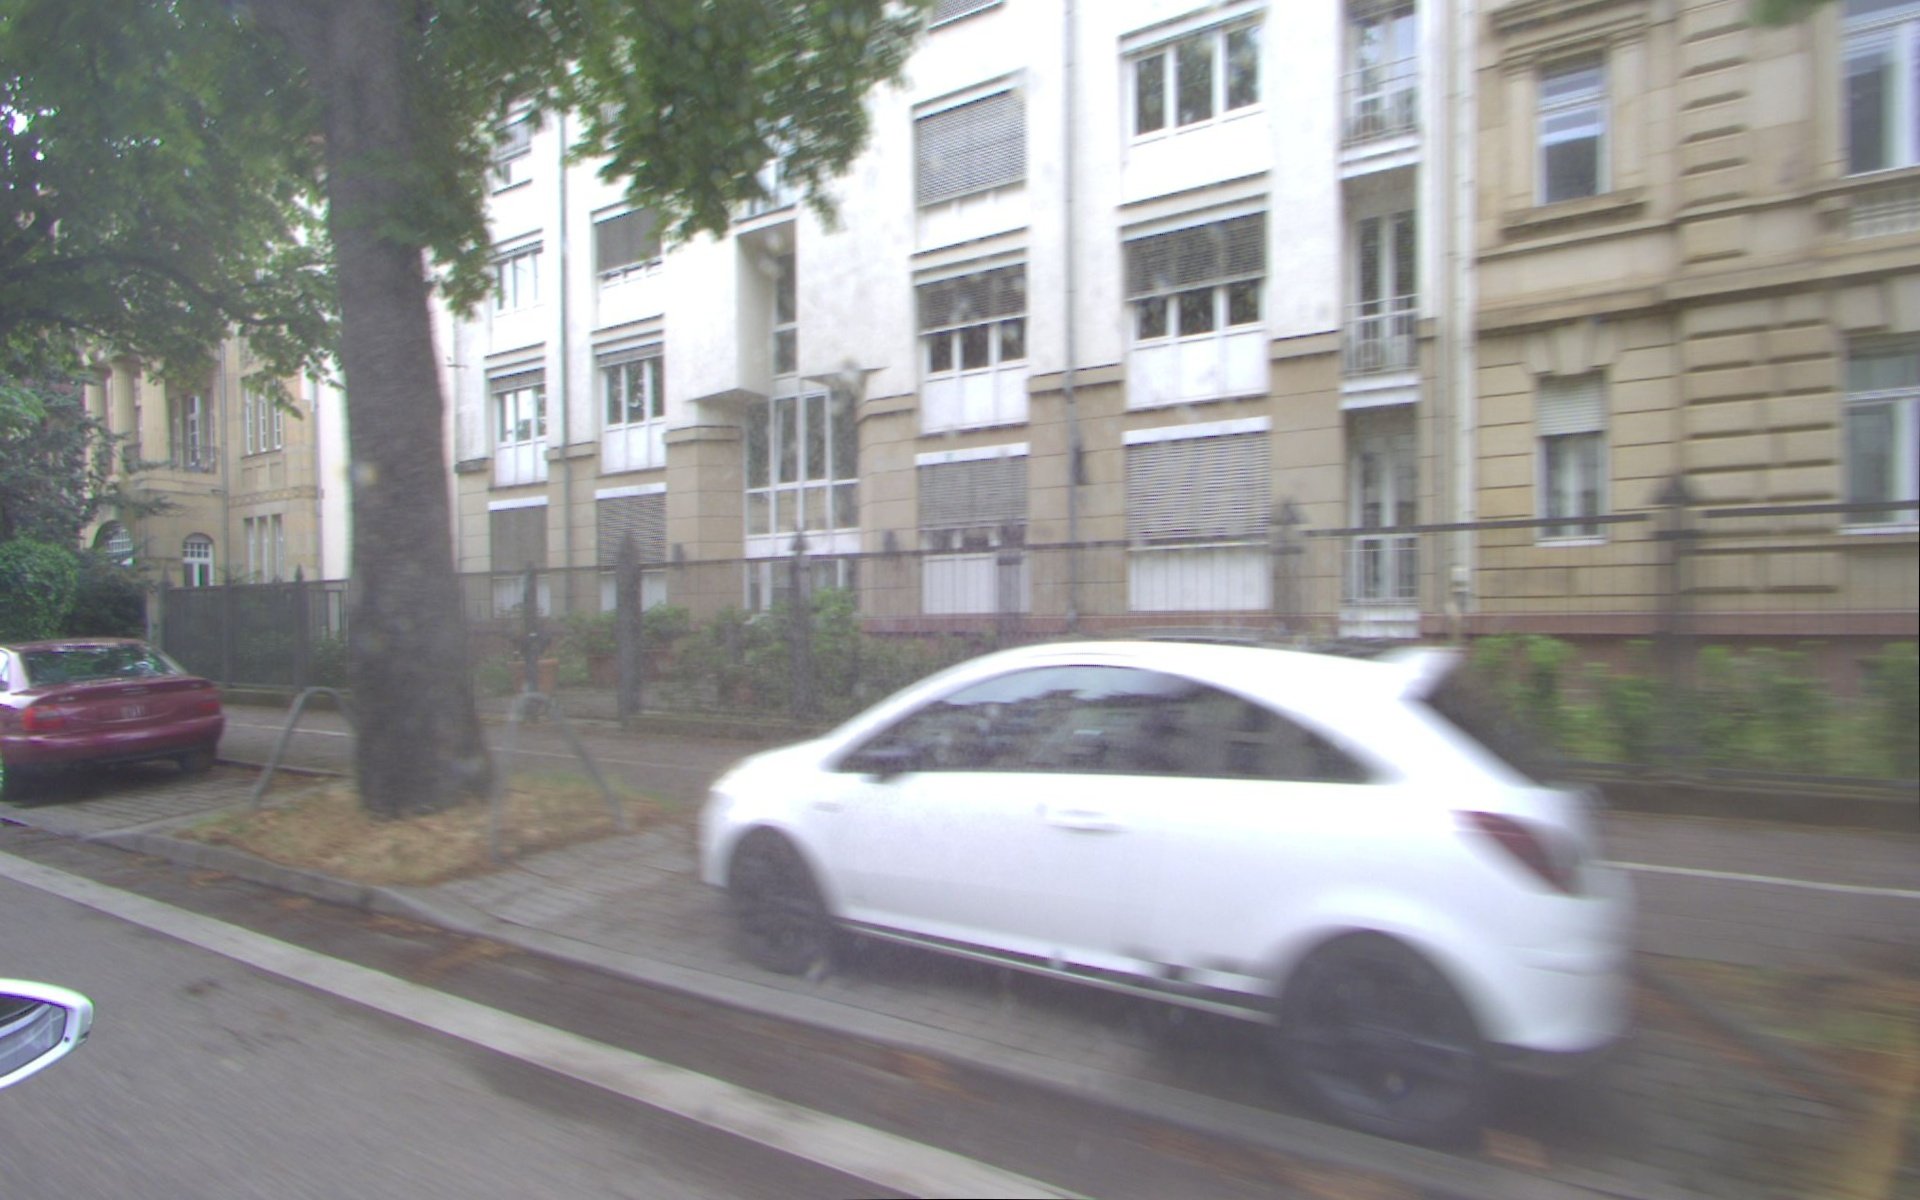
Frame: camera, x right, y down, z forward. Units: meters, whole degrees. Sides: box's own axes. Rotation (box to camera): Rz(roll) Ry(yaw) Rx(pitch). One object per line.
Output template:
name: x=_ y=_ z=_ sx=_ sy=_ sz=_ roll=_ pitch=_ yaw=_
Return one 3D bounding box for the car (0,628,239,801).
car: x=-9.401 y=1.035 z=10.414 sx=4.166 sy=1.418 sz=1.598 roll=-1 pitch=1 yaw=32

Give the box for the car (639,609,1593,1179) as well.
car: x=0.517 y=0.807 z=4.312 sx=3.723 sy=1.455 sz=1.598 roll=-1 pitch=1 yaw=33
